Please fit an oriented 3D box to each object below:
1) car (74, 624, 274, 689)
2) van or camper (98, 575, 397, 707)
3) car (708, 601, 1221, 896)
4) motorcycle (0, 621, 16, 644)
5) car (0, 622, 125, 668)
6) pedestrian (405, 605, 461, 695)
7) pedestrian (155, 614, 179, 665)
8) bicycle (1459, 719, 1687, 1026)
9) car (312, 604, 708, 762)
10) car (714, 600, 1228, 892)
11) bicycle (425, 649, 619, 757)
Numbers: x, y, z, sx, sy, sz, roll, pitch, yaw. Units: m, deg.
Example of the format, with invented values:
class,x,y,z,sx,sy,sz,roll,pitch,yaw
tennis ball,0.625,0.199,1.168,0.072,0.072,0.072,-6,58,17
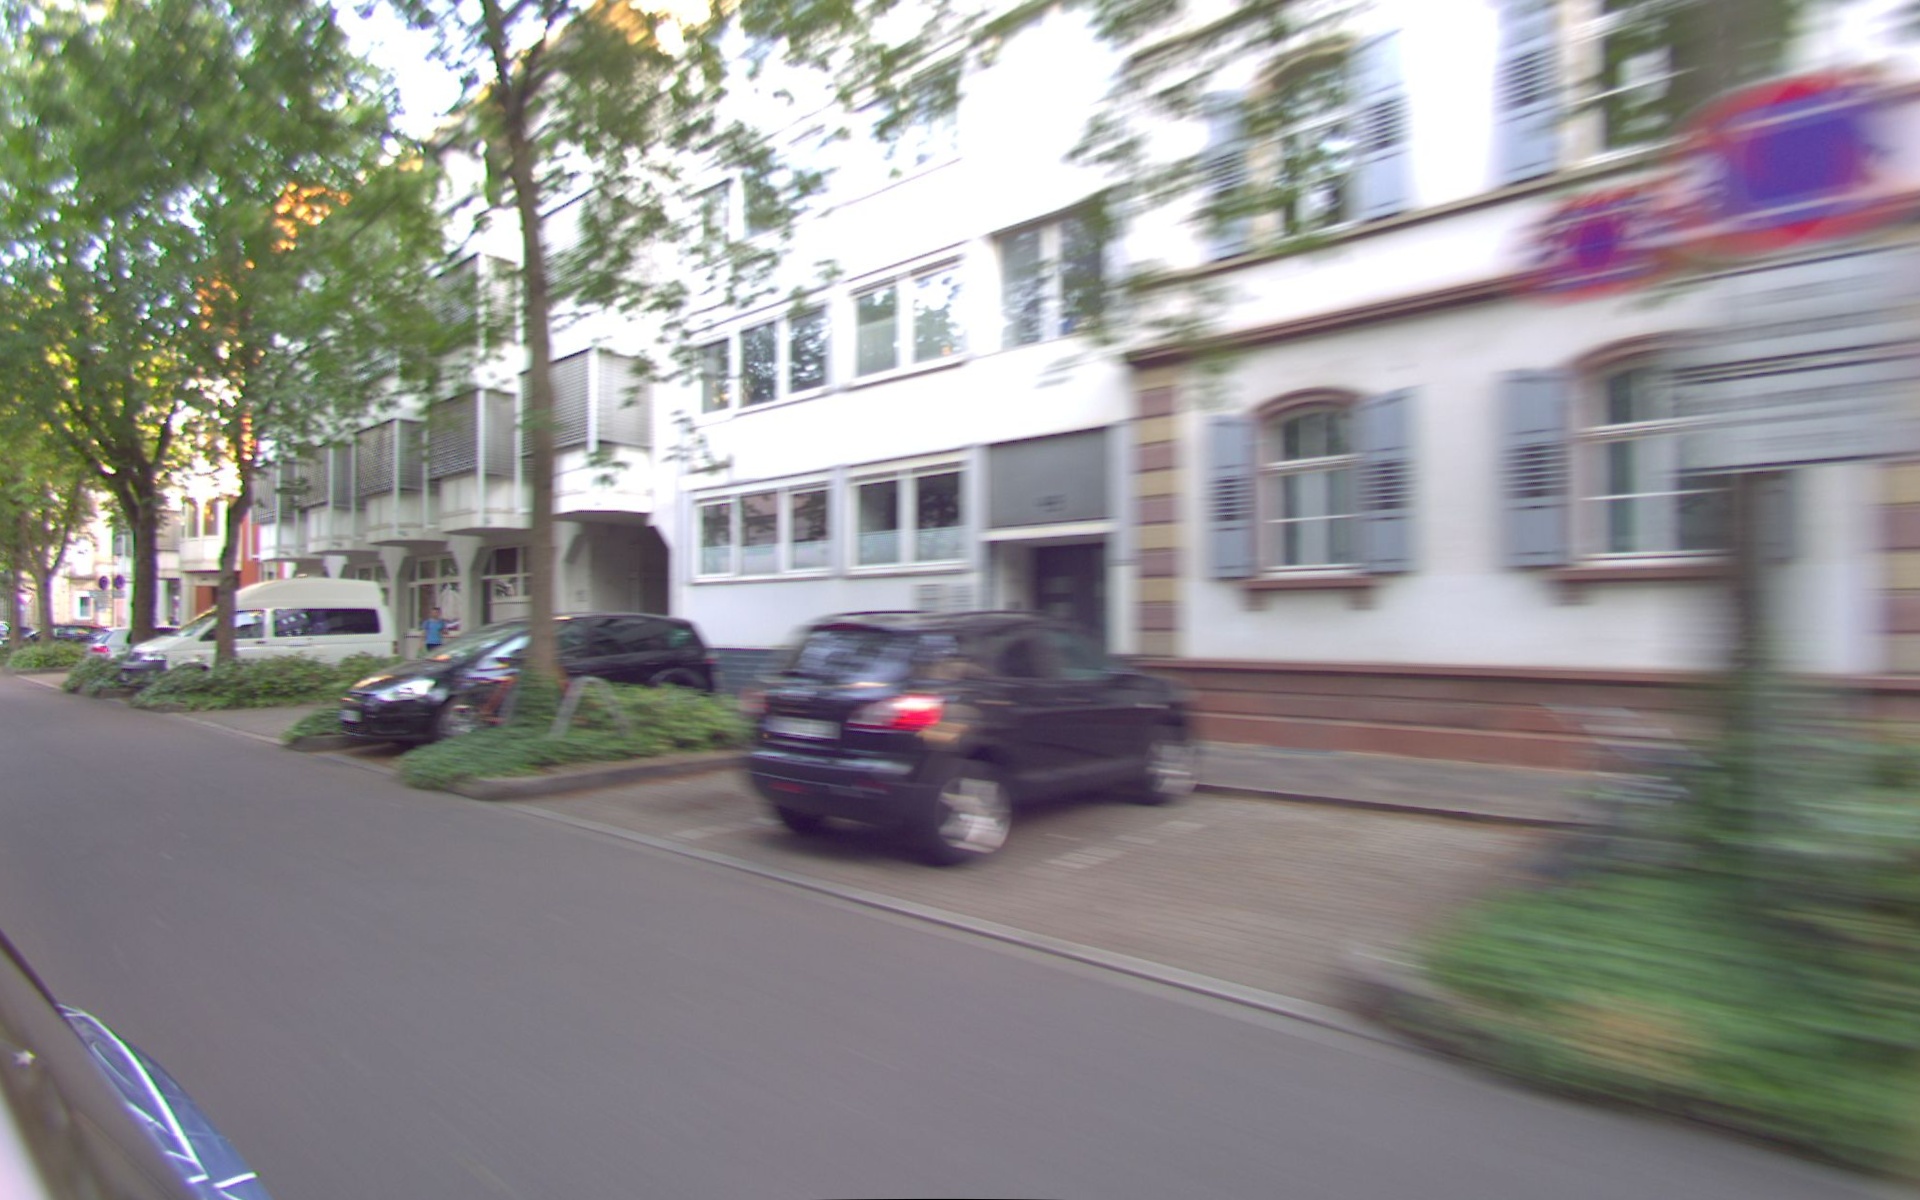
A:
class,x,y,z,sx,sy,sz,roll,pitch,yaw
car,-20.721,1.424,26.784,1.622,1.539,4.008,-2,-2,44
van or camper,-14.750,0.844,21.196,1.944,2.446,4.766,-2,-3,41
car,0.274,0.849,7.639,1.826,1.600,3.948,-2,-2,39
motorcycle,-48.390,1.640,50.687,0.572,1.151,1.604,-2,0,43
car,-36.509,1.775,40.556,1.789,1.772,4.420,-1,-2,38
pedestrian,-12.231,1.149,23.493,0.839,2.029,0.930,-2,-2,45
pedestrian,-27.491,1.366,35.077,0.628,1.758,0.680,1,-2,-40
bicycle,2.581,1.064,4.418,0.480,0.944,1.552,-1,-2,18
car,-5.602,0.965,13.190,1.619,1.695,4.492,-1,-2,37
car,0.312,0.834,7.677,1.788,1.604,3.946,-2,-1,41
bicycle,-4.625,1.048,10.813,0.479,1.033,1.882,-2,-3,39
